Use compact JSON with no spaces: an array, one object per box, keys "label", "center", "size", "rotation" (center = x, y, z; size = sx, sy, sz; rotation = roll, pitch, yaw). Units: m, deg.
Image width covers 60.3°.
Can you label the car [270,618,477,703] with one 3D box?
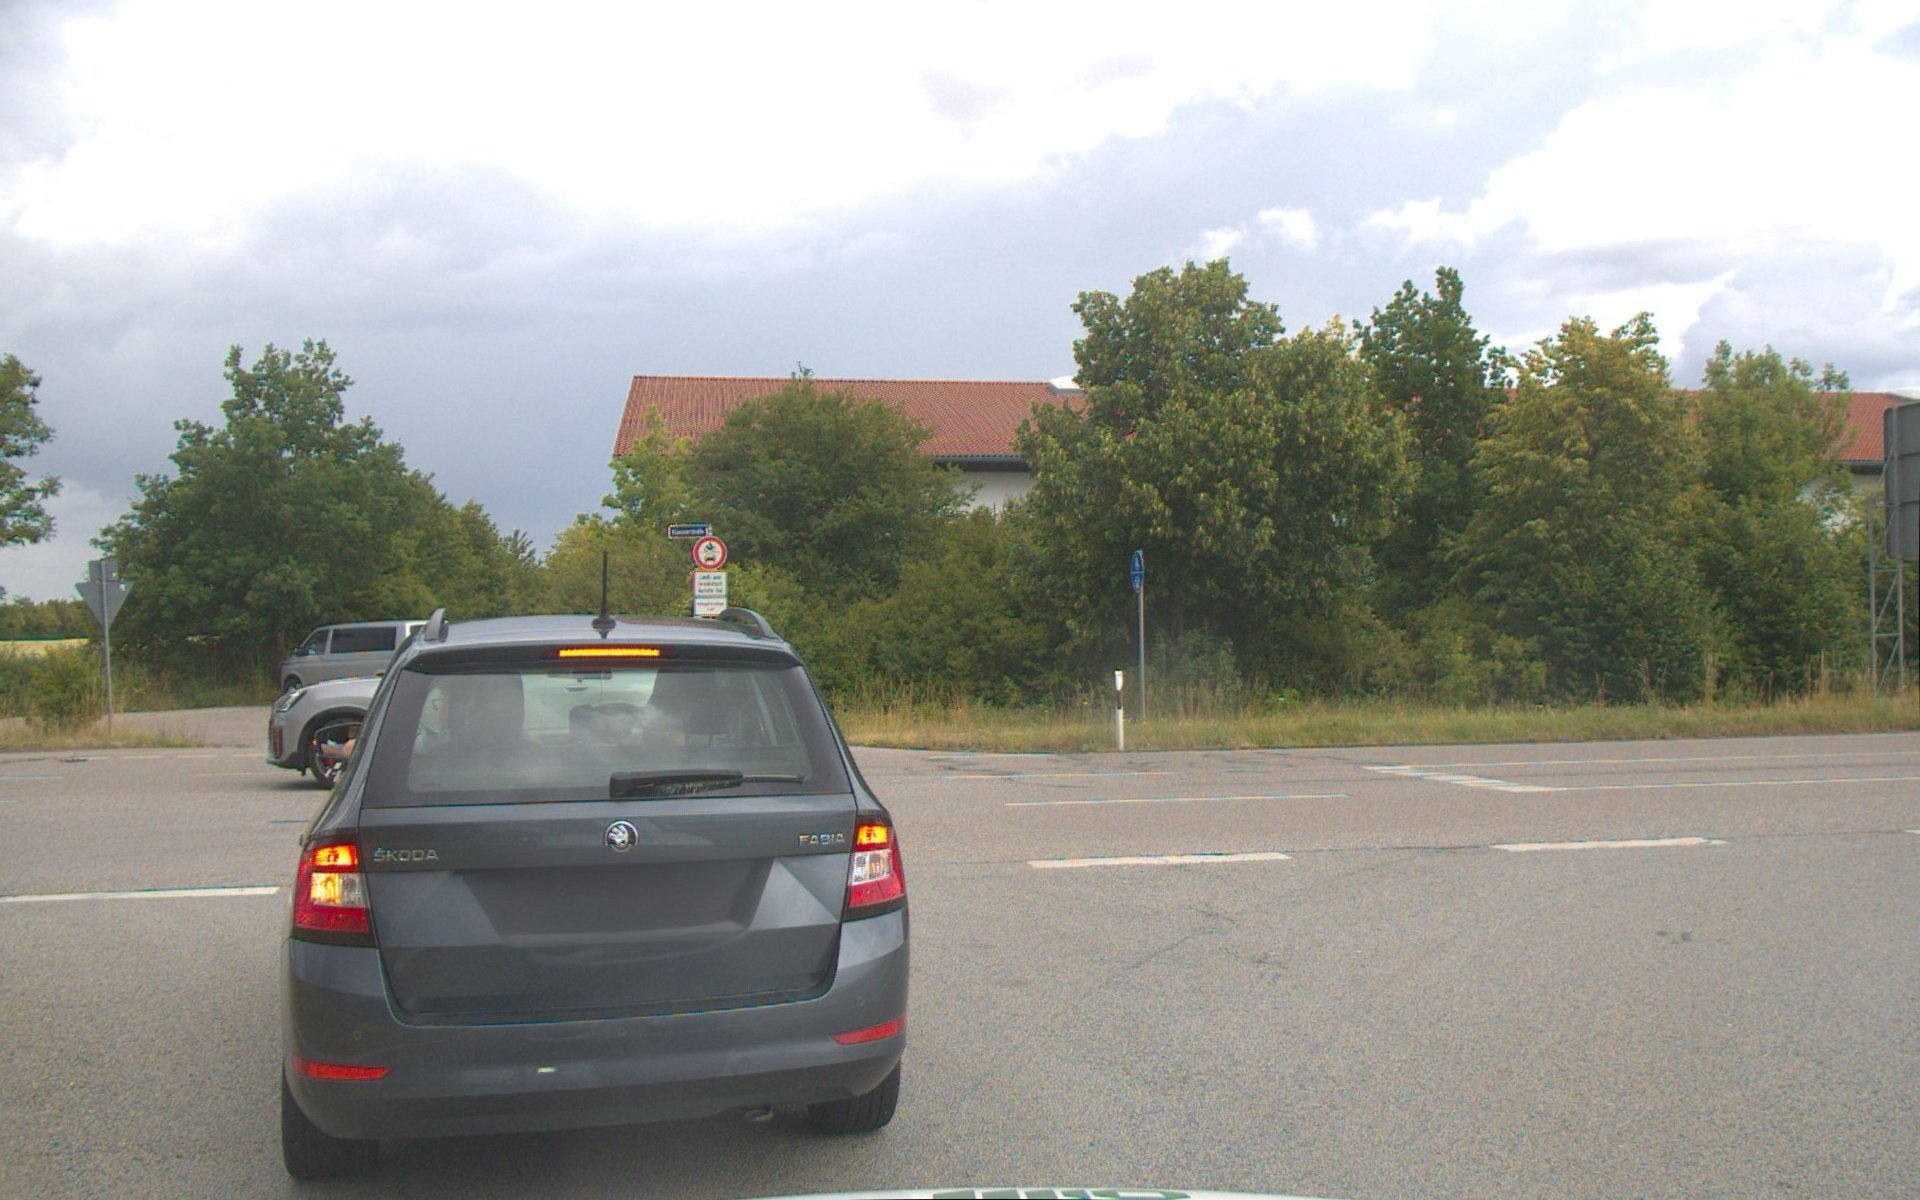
[{"label":"car","center":[-14.354,1.474,40.421],"size":[4.992,1.919,2.108],"rotation":[-2,0,32]}]

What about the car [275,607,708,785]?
[{"label":"car","center":[-4.823,0.992,17.550],"size":[4.171,1.652,1.994],"rotation":[-1,-3,-11]}]

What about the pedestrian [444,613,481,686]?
[{"label":"pedestrian","center":[-12.212,1.213,40.618],"size":[0.687,1.753,0.732],"rotation":[-1,-1,-2]}]

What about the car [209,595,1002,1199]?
[{"label":"car","center":[-1.245,0.748,5.575],"size":[1.685,1.473,4.100],"rotation":[0,-1,-15]}]

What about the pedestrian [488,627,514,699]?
[{"label":"pedestrian","center":[-11.547,1.579,41.595],"size":[0.480,1.777,0.642],"rotation":[-1,-1,-5]}]

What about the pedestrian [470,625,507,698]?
[{"label":"pedestrian","center":[-11.420,1.479,40.073],"size":[0.709,1.753,0.791],"rotation":[-1,-1,-5]}]
